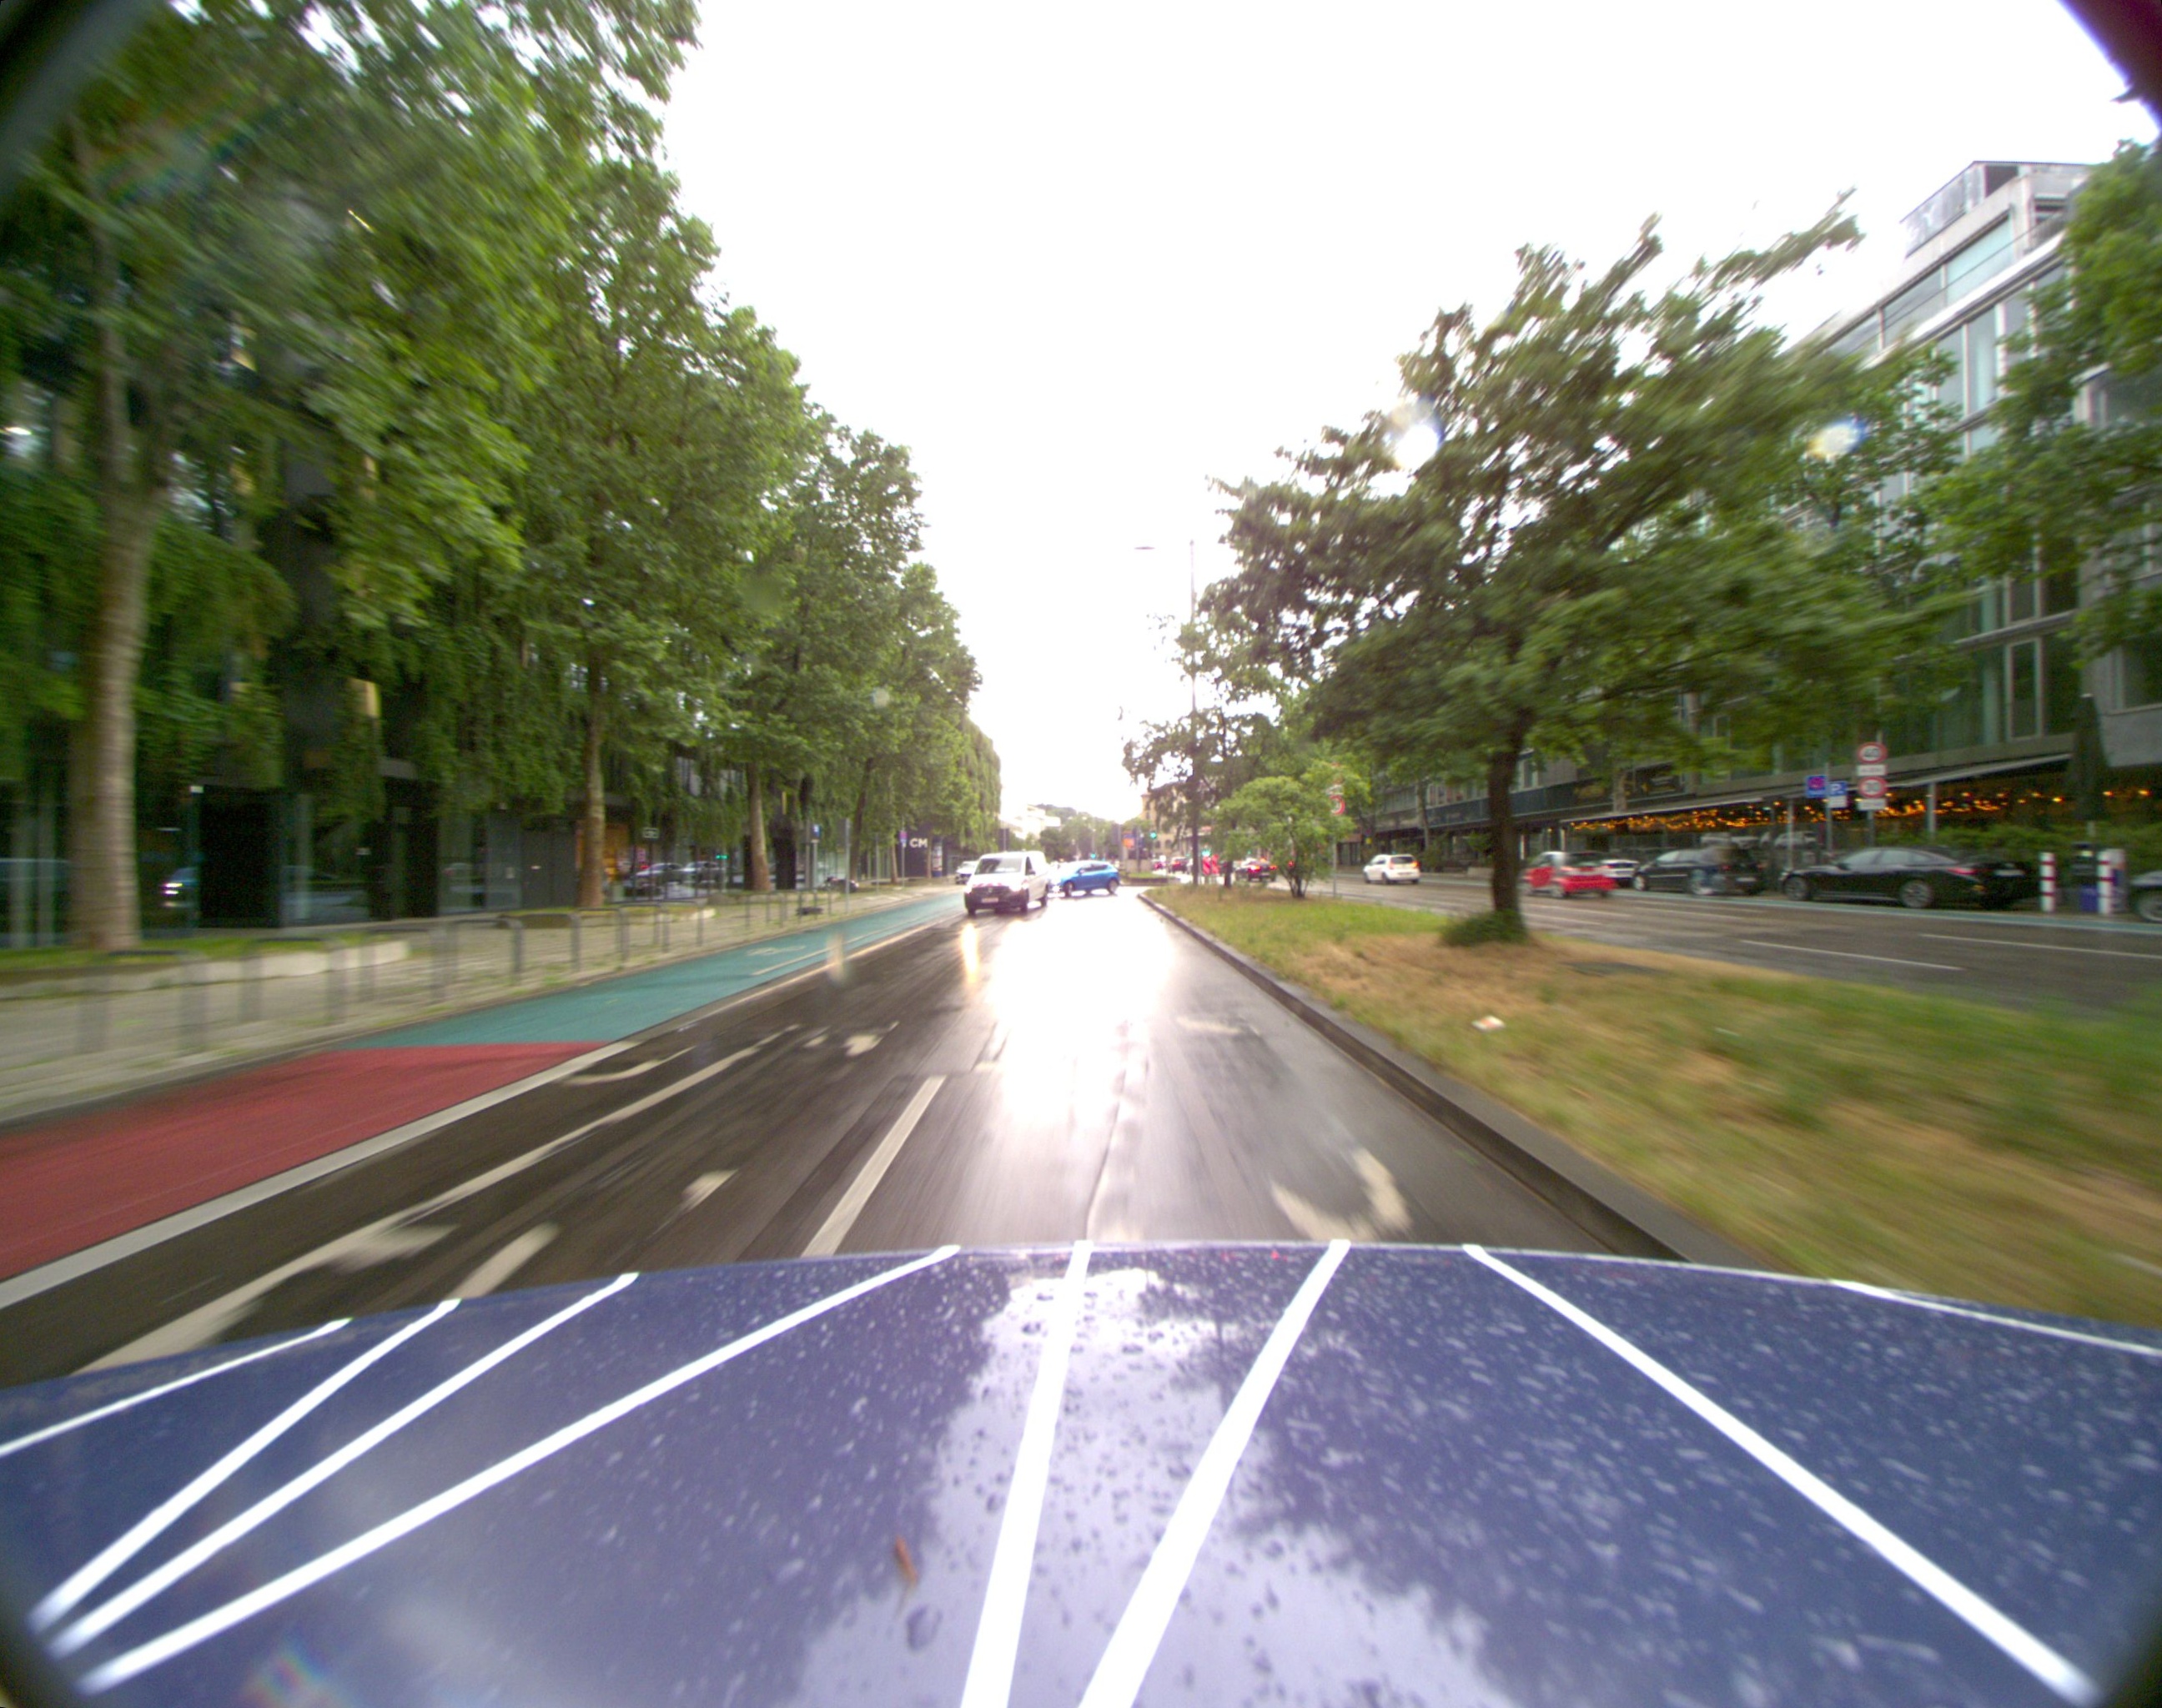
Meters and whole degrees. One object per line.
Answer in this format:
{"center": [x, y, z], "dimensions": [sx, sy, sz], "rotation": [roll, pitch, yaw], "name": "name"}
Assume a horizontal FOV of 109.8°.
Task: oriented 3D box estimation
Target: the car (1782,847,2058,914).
{"center": [19.738, 0.583, 18.242], "dimensions": [1.697, 1.401, 4.456], "rotation": [-1, -1, 0], "name": "car"}

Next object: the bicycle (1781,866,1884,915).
{"center": [17.912, 0.845, 18.172], "dimensions": [0.711, 1.097, 1.816], "rotation": [-1, 0, 1], "name": "bicycle"}

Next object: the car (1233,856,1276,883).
{"center": [10.785, 0.938, 47.443], "dimensions": [1.753, 1.467, 4.095], "rotation": [-2, 1, 1], "name": "car"}

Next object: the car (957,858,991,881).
{"center": [-7.906, 1.160, 56.620], "dimensions": [1.848, 1.623, 4.787], "rotation": [-1, -1, 0], "name": "car"}

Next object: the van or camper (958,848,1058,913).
{"center": [-2.258, 0.807, 25.171], "dimensions": [1.997, 1.902, 5.255], "rotation": [-1, -1, 9], "name": "van or camper"}

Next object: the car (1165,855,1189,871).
{"center": [10.558, 0.985, 84.093], "dimensions": [1.840, 1.756, 5.109], "rotation": [-1, -1, -1], "name": "car"}

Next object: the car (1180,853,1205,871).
{"center": [10.720, 0.776, 73.441], "dimensions": [1.739, 1.564, 4.832], "rotation": [-1, -1, 1], "name": "car"}

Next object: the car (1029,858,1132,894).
{"center": [0.043, 0.952, 33.595], "dimensions": [4.405, 1.473, 1.844], "rotation": [-1, -2, -43], "name": "car"}

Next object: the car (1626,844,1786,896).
{"center": [19.902, 0.499, 24.439], "dimensions": [1.841, 1.499, 4.000], "rotation": [-1, -1, 0], "name": "car"}

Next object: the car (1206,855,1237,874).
{"center": [11.141, 0.796, 60.648], "dimensions": [1.754, 1.467, 4.096], "rotation": [-1, 0, 1], "name": "car"}

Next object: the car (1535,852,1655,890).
{"center": [20.112, 0.660, 30.017], "dimensions": [1.563, 1.345, 4.683], "rotation": [-2, -1, 0], "name": "car"}

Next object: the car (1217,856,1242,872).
{"center": [14.605, 0.980, 74.788], "dimensions": [1.723, 1.482, 4.570], "rotation": [-1, 0, 2], "name": "car"}

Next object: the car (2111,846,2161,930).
{"center": [19.589, 0.568, 12.096], "dimensions": [1.697, 1.459, 3.460], "rotation": [-1, -1, 0], "name": "car"}

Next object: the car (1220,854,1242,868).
{"center": [17.670, 0.812, 89.652], "dimensions": [1.757, 1.556, 4.000], "rotation": [-1, 0, -1], "name": "car"}

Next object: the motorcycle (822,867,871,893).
{"center": [-12.756, 1.403, 41.349], "dimensions": [2.313, 1.263, 1.053], "rotation": [-2, 0, -1], "name": "motorcycle"}

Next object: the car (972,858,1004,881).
{"center": [-7.610, 1.236, 62.672], "dimensions": [1.848, 1.827, 5.095], "rotation": [0, -1, 2], "name": "car"}

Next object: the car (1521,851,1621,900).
{"center": [15.619, 0.664, 24.374], "dimensions": [1.497, 1.454, 2.732], "rotation": [-1, 0, 2], "name": "car"}

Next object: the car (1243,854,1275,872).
{"center": [14.720, 0.712, 63.175], "dimensions": [1.754, 1.467, 4.096], "rotation": [-1, 0, 1], "name": "car"}

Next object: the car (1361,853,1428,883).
{"center": [15.643, 0.685, 38.079], "dimensions": [1.848, 1.420, 3.643], "rotation": [-1, -1, 0], "name": "car"}
